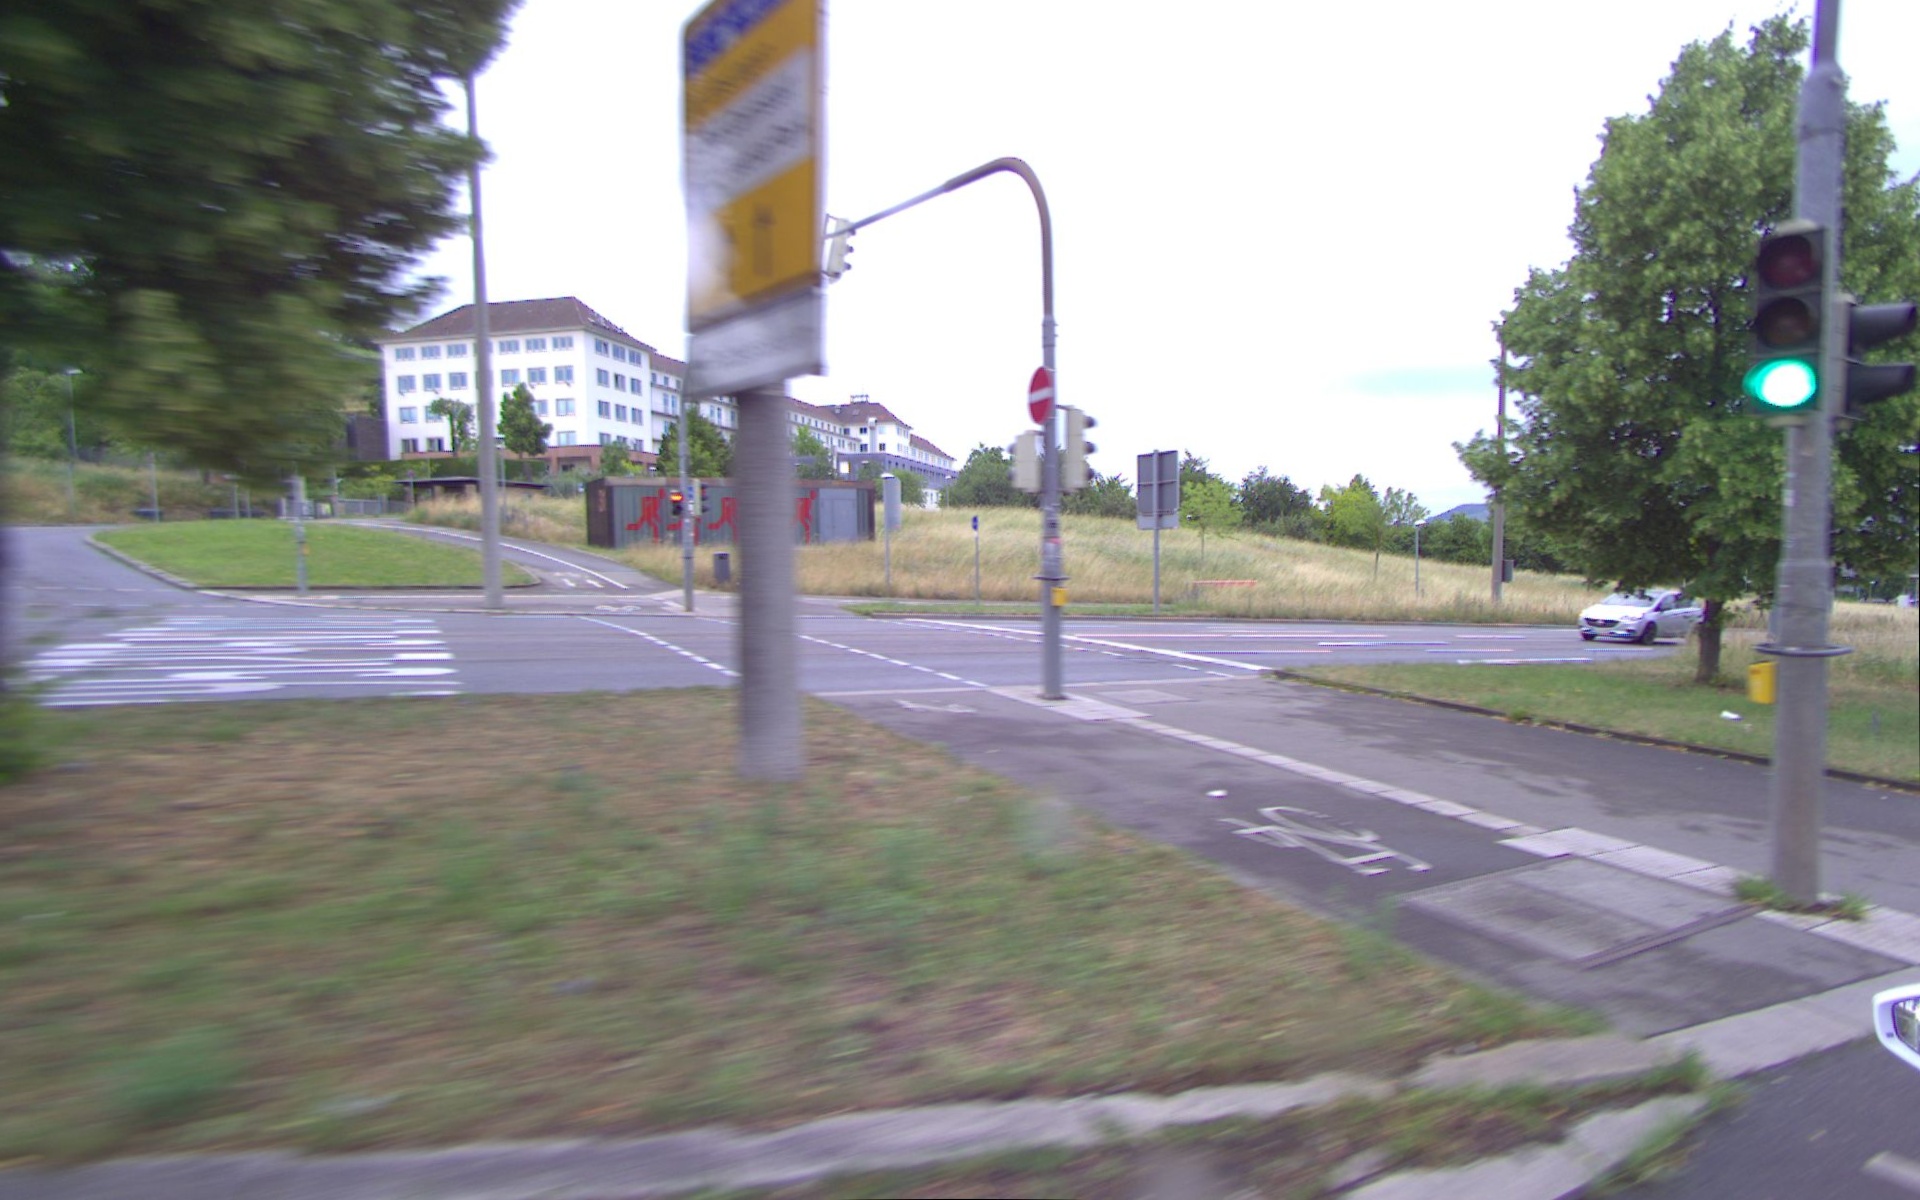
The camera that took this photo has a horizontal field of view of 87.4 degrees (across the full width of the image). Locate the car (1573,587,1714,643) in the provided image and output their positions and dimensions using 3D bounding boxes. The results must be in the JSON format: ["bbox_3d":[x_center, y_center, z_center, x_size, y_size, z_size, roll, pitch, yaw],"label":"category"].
[{"bbox_3d":[18.804,0.412,27.607,3.878,1.408,1.532,1,2,-28],"label":"car"}]
